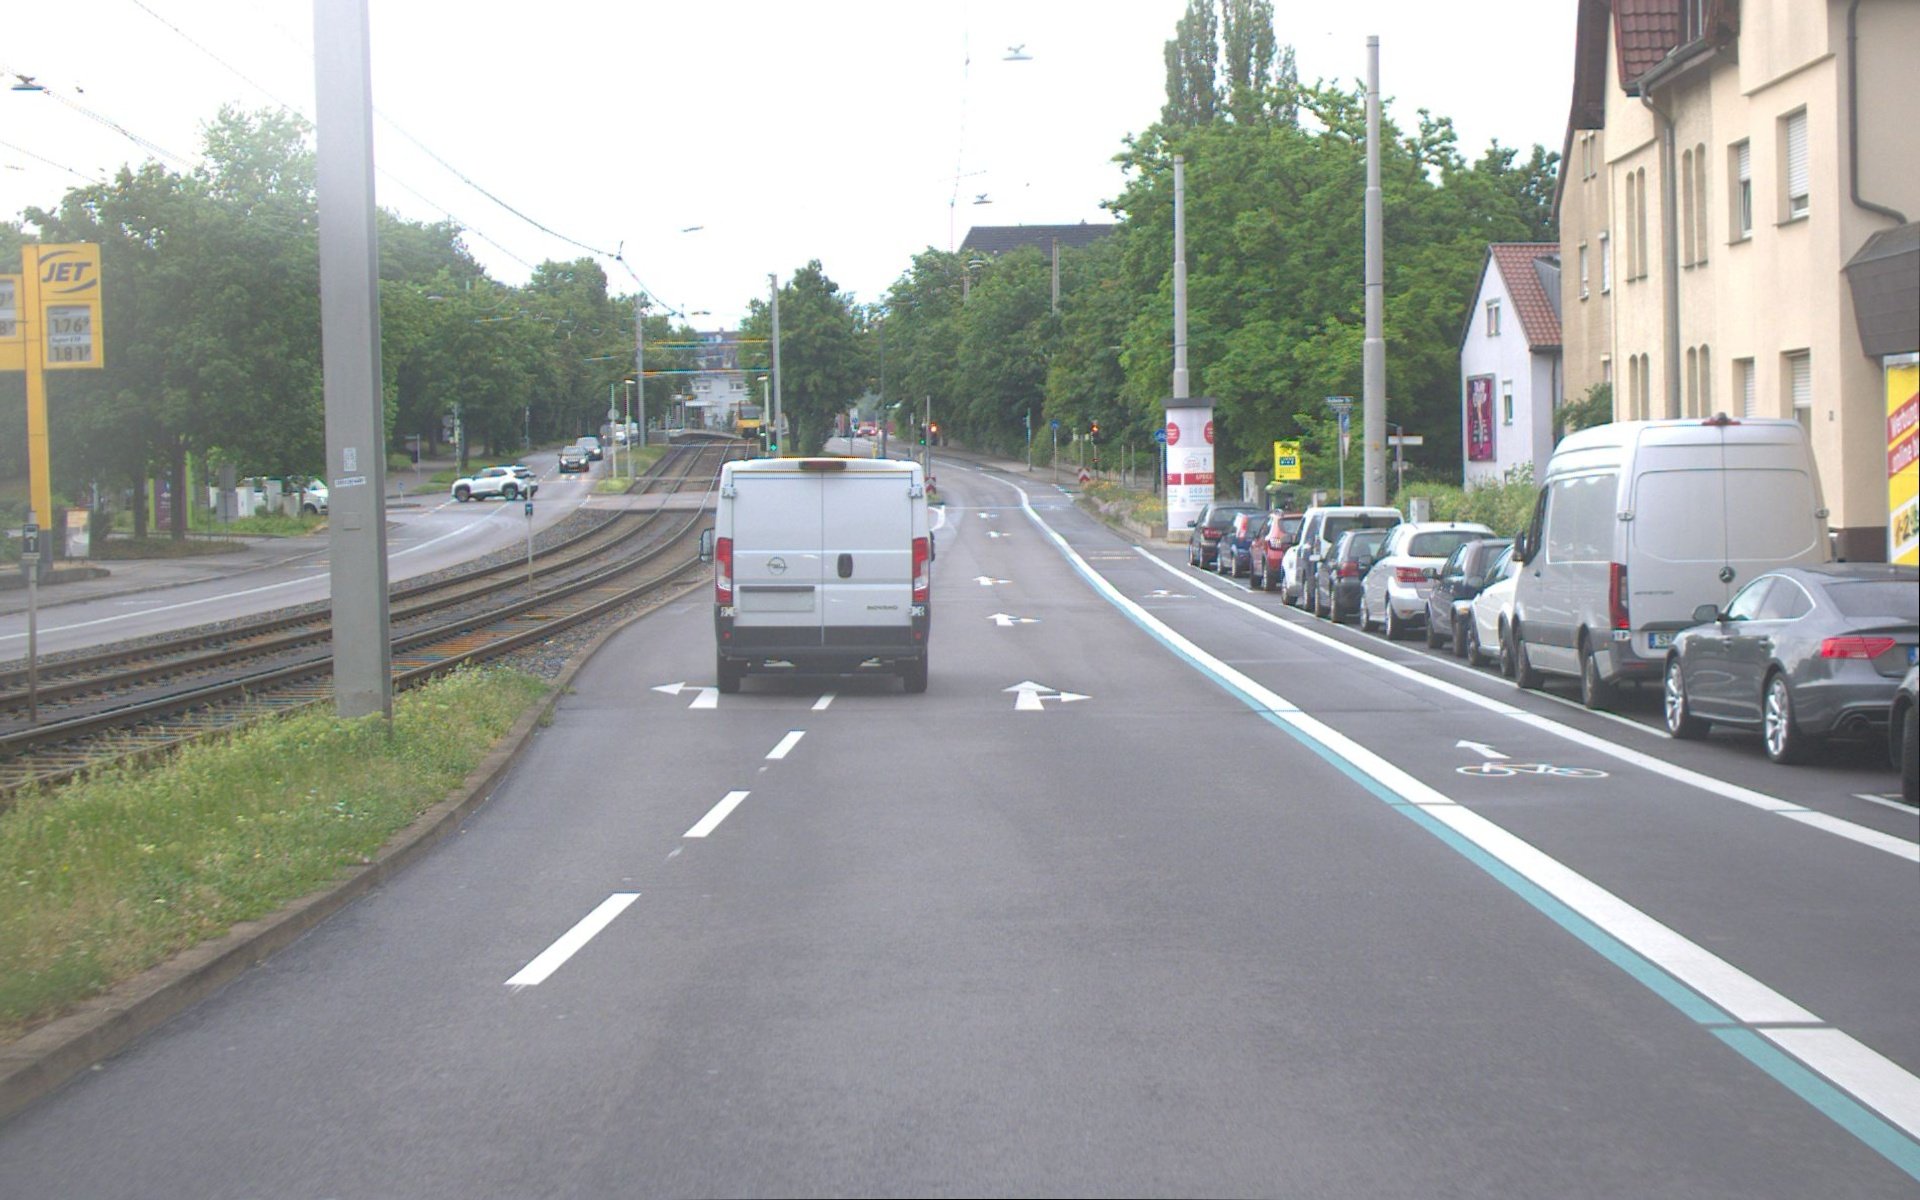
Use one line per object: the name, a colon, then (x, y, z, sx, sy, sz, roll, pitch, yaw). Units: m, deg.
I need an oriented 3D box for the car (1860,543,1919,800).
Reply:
car: (6.435, 0.450, 19.400, 1.565, 1.493, 3.513, 1, 1, -4)

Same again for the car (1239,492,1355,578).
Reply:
car: (6.743, -1.327, 69.125, 1.847, 1.640, 3.955, 0, 2, -1)

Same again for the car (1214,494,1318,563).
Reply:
car: (6.799, -1.600, 76.751, 1.847, 1.494, 3.955, 0, 1, -1)

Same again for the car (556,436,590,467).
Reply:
car: (-22.514, -8.629, 200.090, 1.690, 1.706, 3.777, 1, 1, -2)

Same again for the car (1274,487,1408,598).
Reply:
car: (6.516, -1.017, 59.171, 1.747, 1.801, 3.955, 0, 2, -1)

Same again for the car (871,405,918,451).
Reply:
car: (-3.049, -7.959, 159.350, 1.993, 2.007, 4.001, 1, 1, -4)

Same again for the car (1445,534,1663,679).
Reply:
car: (6.553, 0.027, 38.317, 1.708, 1.441, 4.041, 1, 2, 0)

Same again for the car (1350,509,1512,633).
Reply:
car: (6.547, -0.439, 48.171, 1.646, 1.609, 4.105, 1, 2, -1)

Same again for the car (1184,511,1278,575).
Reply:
car: (6.476, -1.380, 82.598, 1.847, 1.494, 3.955, 0, 1, -1)

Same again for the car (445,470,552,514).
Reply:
car: (-21.519, -5.028, 160.299, 4.518, 2.007, 1.998, 1, 1, 21)

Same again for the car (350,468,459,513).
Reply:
car: (-25.521, -5.033, 157.990, 4.518, 2.007, 1.998, 1, 1, 21)

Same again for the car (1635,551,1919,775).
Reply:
car: (6.414, 0.392, 25.100, 1.788, 1.401, 4.554, 1, 2, -4)

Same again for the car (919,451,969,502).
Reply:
car: (-0.659, -5.065, 141.249, 1.993, 2.007, 4.000, 1, 1, 0)

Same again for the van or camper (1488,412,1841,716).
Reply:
van or camper: (6.444, -0.425, 32.222, 1.993, 2.554, 6.044, 1, 2, 0)

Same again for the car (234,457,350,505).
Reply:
car: (-29.067, -5.164, 149.592, 4.515, 2.007, 1.999, 1, 1, 11)

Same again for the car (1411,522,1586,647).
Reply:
car: (6.655, -0.226, 42.811, 1.626, 1.443, 3.707, 1, 2, 1)

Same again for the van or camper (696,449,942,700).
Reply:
van or camper: (-1.421, -0.273, 33.478, 2.198, 2.245, 4.685, 1, 1, -4)

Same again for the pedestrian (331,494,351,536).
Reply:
pedestrian: (-22.373, -3.072, 124.281, 0.612, 1.470, 0.643, -2, 1, -13)

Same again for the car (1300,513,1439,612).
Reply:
car: (6.367, -0.613, 53.740, 1.646, 1.441, 3.955, 1, 2, -1)

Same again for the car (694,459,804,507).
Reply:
car: (-9.143, -5.051, 148.761, 4.523, 2.007, 1.996, 1, 1, 37)
